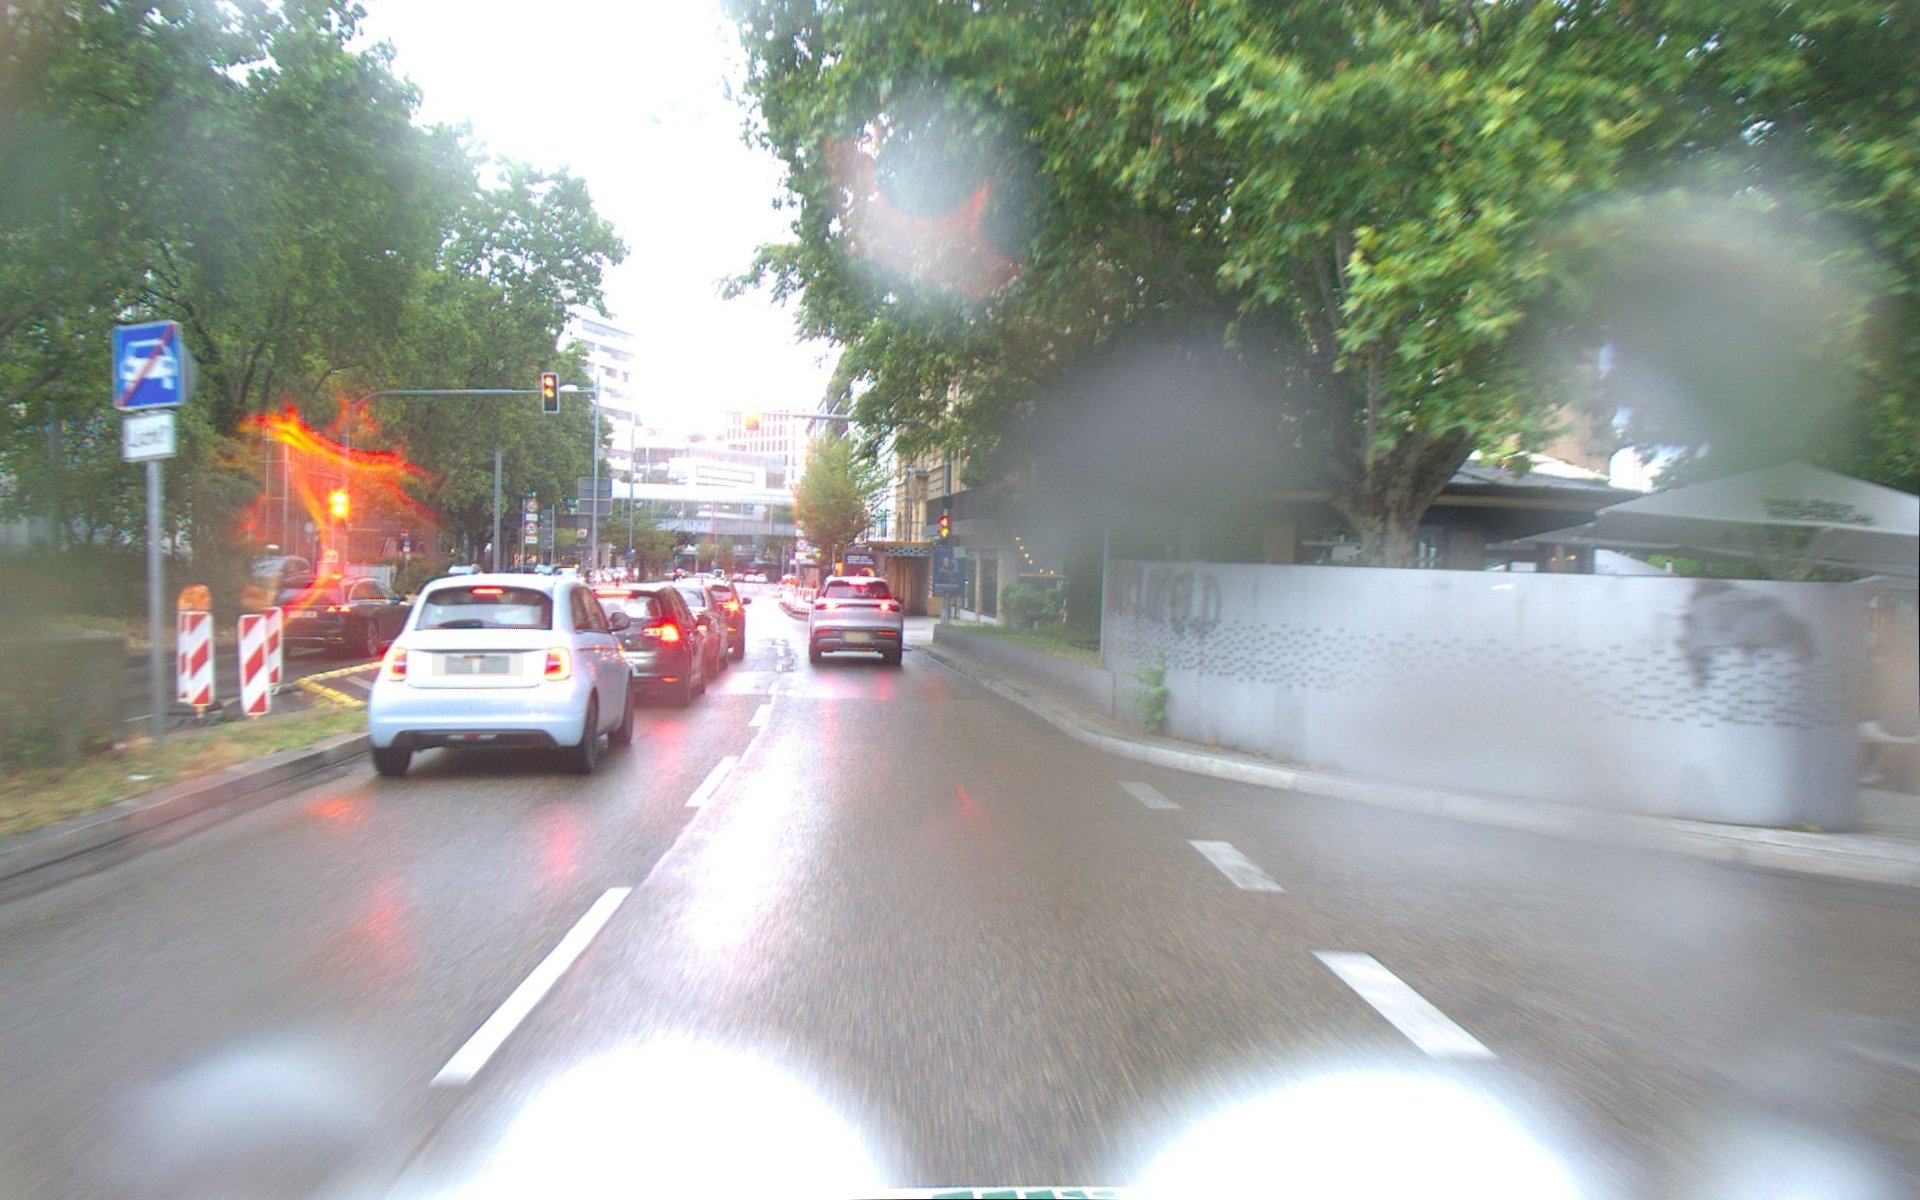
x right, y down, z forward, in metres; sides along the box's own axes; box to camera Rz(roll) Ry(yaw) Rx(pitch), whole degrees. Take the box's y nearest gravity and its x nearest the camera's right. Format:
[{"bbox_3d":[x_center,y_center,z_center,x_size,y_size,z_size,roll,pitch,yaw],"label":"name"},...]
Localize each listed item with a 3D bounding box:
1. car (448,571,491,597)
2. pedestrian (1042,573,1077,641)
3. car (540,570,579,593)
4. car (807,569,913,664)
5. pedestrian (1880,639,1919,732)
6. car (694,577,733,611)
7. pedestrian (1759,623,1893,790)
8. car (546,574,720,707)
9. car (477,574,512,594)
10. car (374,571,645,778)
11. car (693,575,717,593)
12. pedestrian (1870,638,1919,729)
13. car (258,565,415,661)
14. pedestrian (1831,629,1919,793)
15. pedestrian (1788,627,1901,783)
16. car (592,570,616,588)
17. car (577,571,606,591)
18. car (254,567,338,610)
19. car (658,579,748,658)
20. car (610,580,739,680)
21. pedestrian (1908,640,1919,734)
[{"bbox_3d":[-29.550,-0.965,99.798,1.760,1.536,4.493,0,1,-7],"label":"car"},{"bbox_3d":[2.689,0.180,44.731,0.841,1.811,0.717,2,0,-2],"label":"pedestrian"},{"bbox_3d":[-26.896,-1.245,111.181,2.118,1.488,4.338,0,1,-7],"label":"car"},{"bbox_3d":[-2.028,0.288,33.047,1.909,1.695,4.341,2,0,-5],"label":"car"},{"bbox_3d":[15.297,1.377,26.539,0.597,1.436,0.628,4,0,-12],"label":"pedestrian"},{"bbox_3d":[-11.205,-0.290,75.353,1.659,1.488,4.339,0,1,-7],"label":"car"},{"bbox_3d":[7.978,0.956,15.266,0.671,1.434,0.905,4,0,0],"label":"pedestrian"},{"bbox_3d":[-3.988,0.428,20.724,1.658,1.488,4.126,0,1,-4],"label":"car"},{"bbox_3d":[-34.239,-1.159,121.768,1.813,1.390,4.232,2,0,-7],"label":"car"},{"bbox_3d":[-3.651,0.519,13.942,1.559,1.517,3.502,0,1,-4],"label":"car"},{"bbox_3d":[-21.742,-1.353,141.131,1.941,1.488,4.338,0,1,-8],"label":"car"},{"bbox_3d":[15.571,1.383,27.320,0.597,1.436,0.628,4,0,-12],"label":"pedestrian"},{"bbox_3d":[-11.609,0.195,31.075,1.666,1.648,3.997,1,1,-4],"label":"car"},{"bbox_3d":[8.681,1.018,15.313,0.671,1.434,0.905,4,0,0],"label":"pedestrian"},{"bbox_3d":[8.665,1.015,16.222,0.671,1.434,0.660,4,0,0],"label":"pedestrian"},{"bbox_3d":[-32.000,-1.884,148.841,1.760,1.536,4.493,0,1,-7],"label":"car"},{"bbox_3d":[-28.524,-1.458,127.990,1.760,1.536,4.493,0,1,-7],"label":"car"},{"bbox_3d":[-24.389,-0.433,60.888,1.760,1.536,4.493,0,1,-7],"label":"car"},{"bbox_3d":[-5.144,0.314,33.543,1.659,1.488,4.339,0,1,-7],"label":"car"},{"bbox_3d":[-4.566,0.416,26.976,1.658,1.488,4.341,0,1,-4],"label":"car"},{"bbox_3d":[15.228,1.376,25.622,0.597,1.436,0.628,4,0,-12],"label":"pedestrian"}]
